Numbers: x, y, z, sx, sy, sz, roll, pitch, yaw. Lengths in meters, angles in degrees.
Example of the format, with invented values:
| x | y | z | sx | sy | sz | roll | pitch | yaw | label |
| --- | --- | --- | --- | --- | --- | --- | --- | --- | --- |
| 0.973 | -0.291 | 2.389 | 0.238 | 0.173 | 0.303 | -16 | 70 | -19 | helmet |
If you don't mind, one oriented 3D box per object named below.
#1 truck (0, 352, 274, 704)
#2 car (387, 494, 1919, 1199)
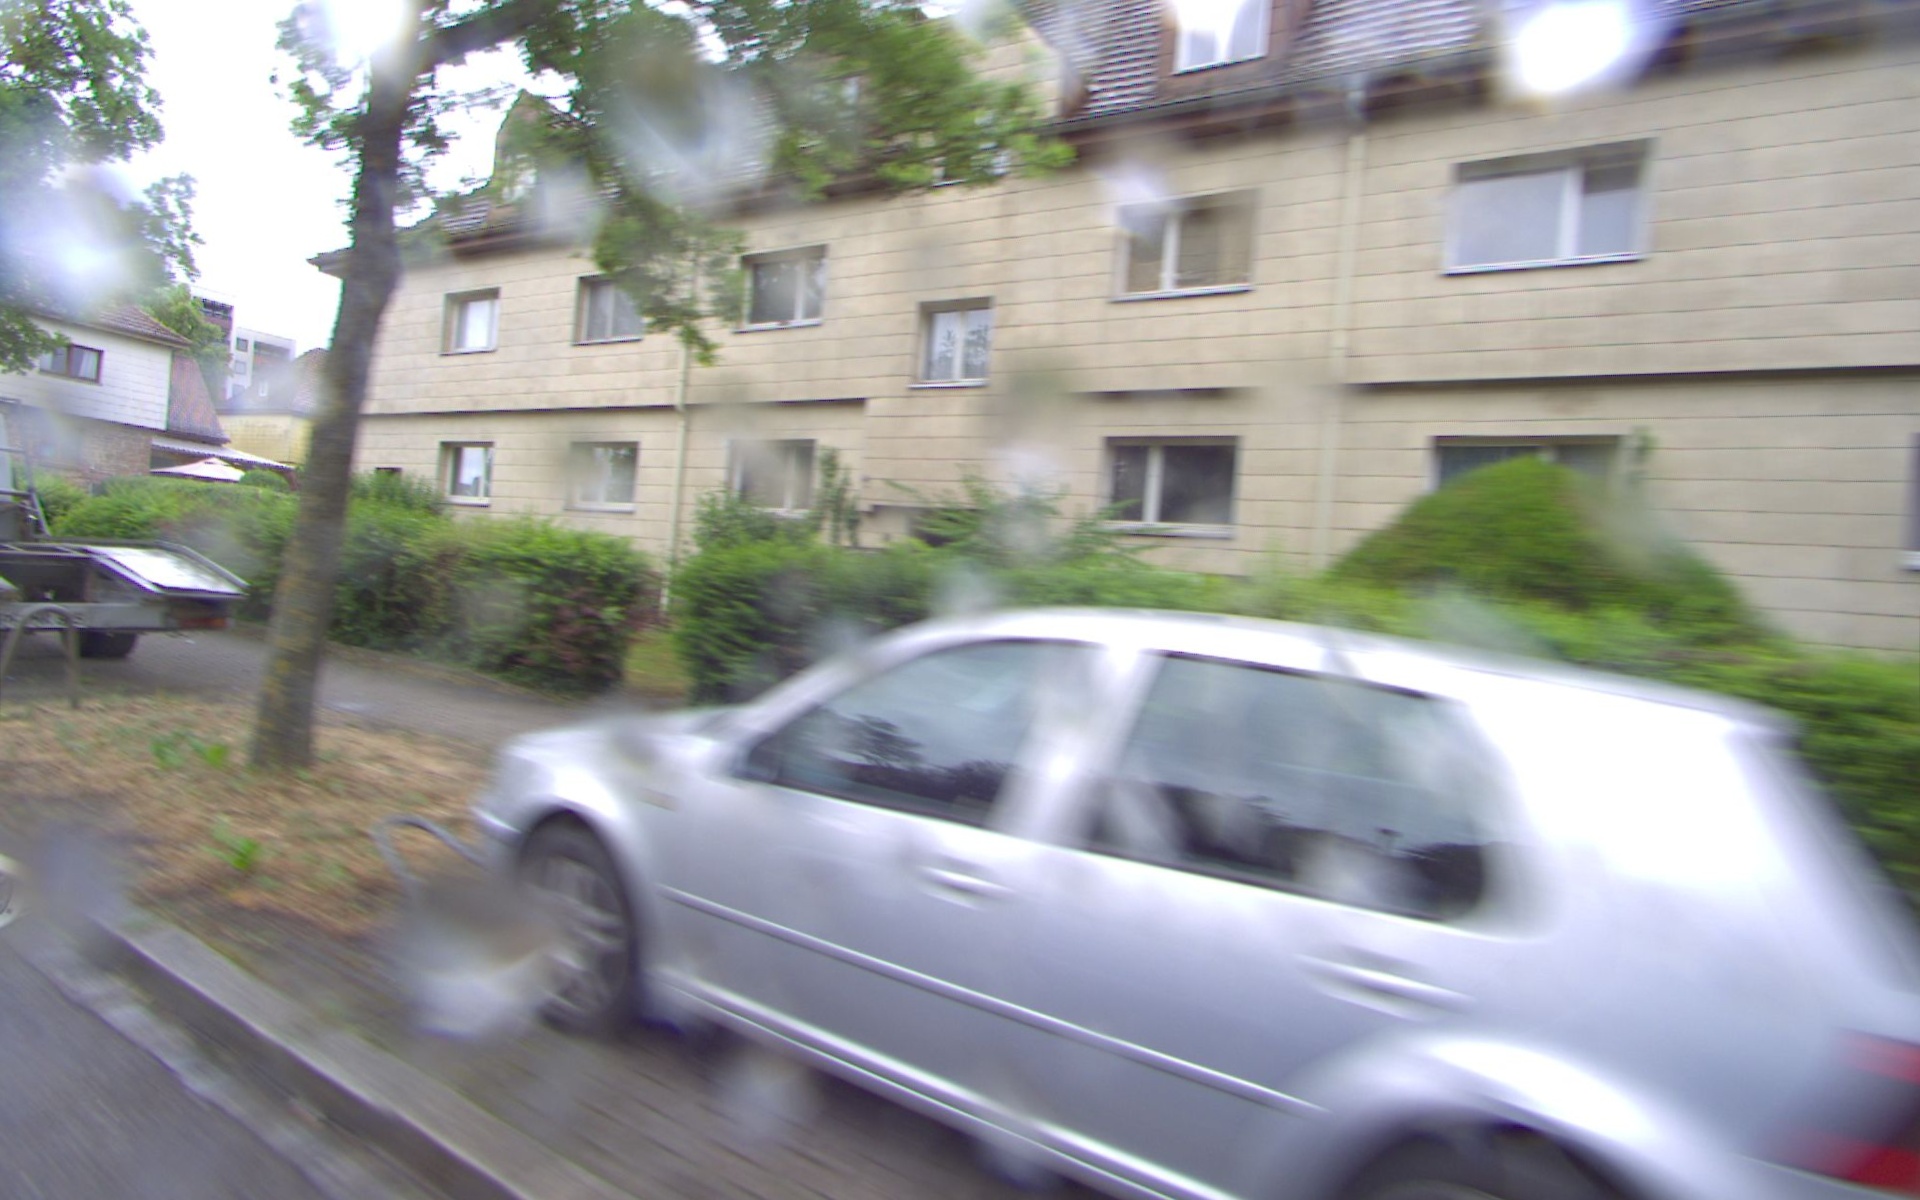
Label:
| x | y | z | sx | sy | sz | roll | pitch | yaw | label |
| --- | --- | --- | --- | --- | --- | --- | --- | --- | --- |
| -8.606 | -0.774 | 8.519 | 6.392 | 2.252 | 2.080 | 7 | 4 | 31 | truck |
| 0.174 | 0.628 | 3.053 | 3.955 | 1.456 | 1.601 | 8 | 3 | 32 | car |
